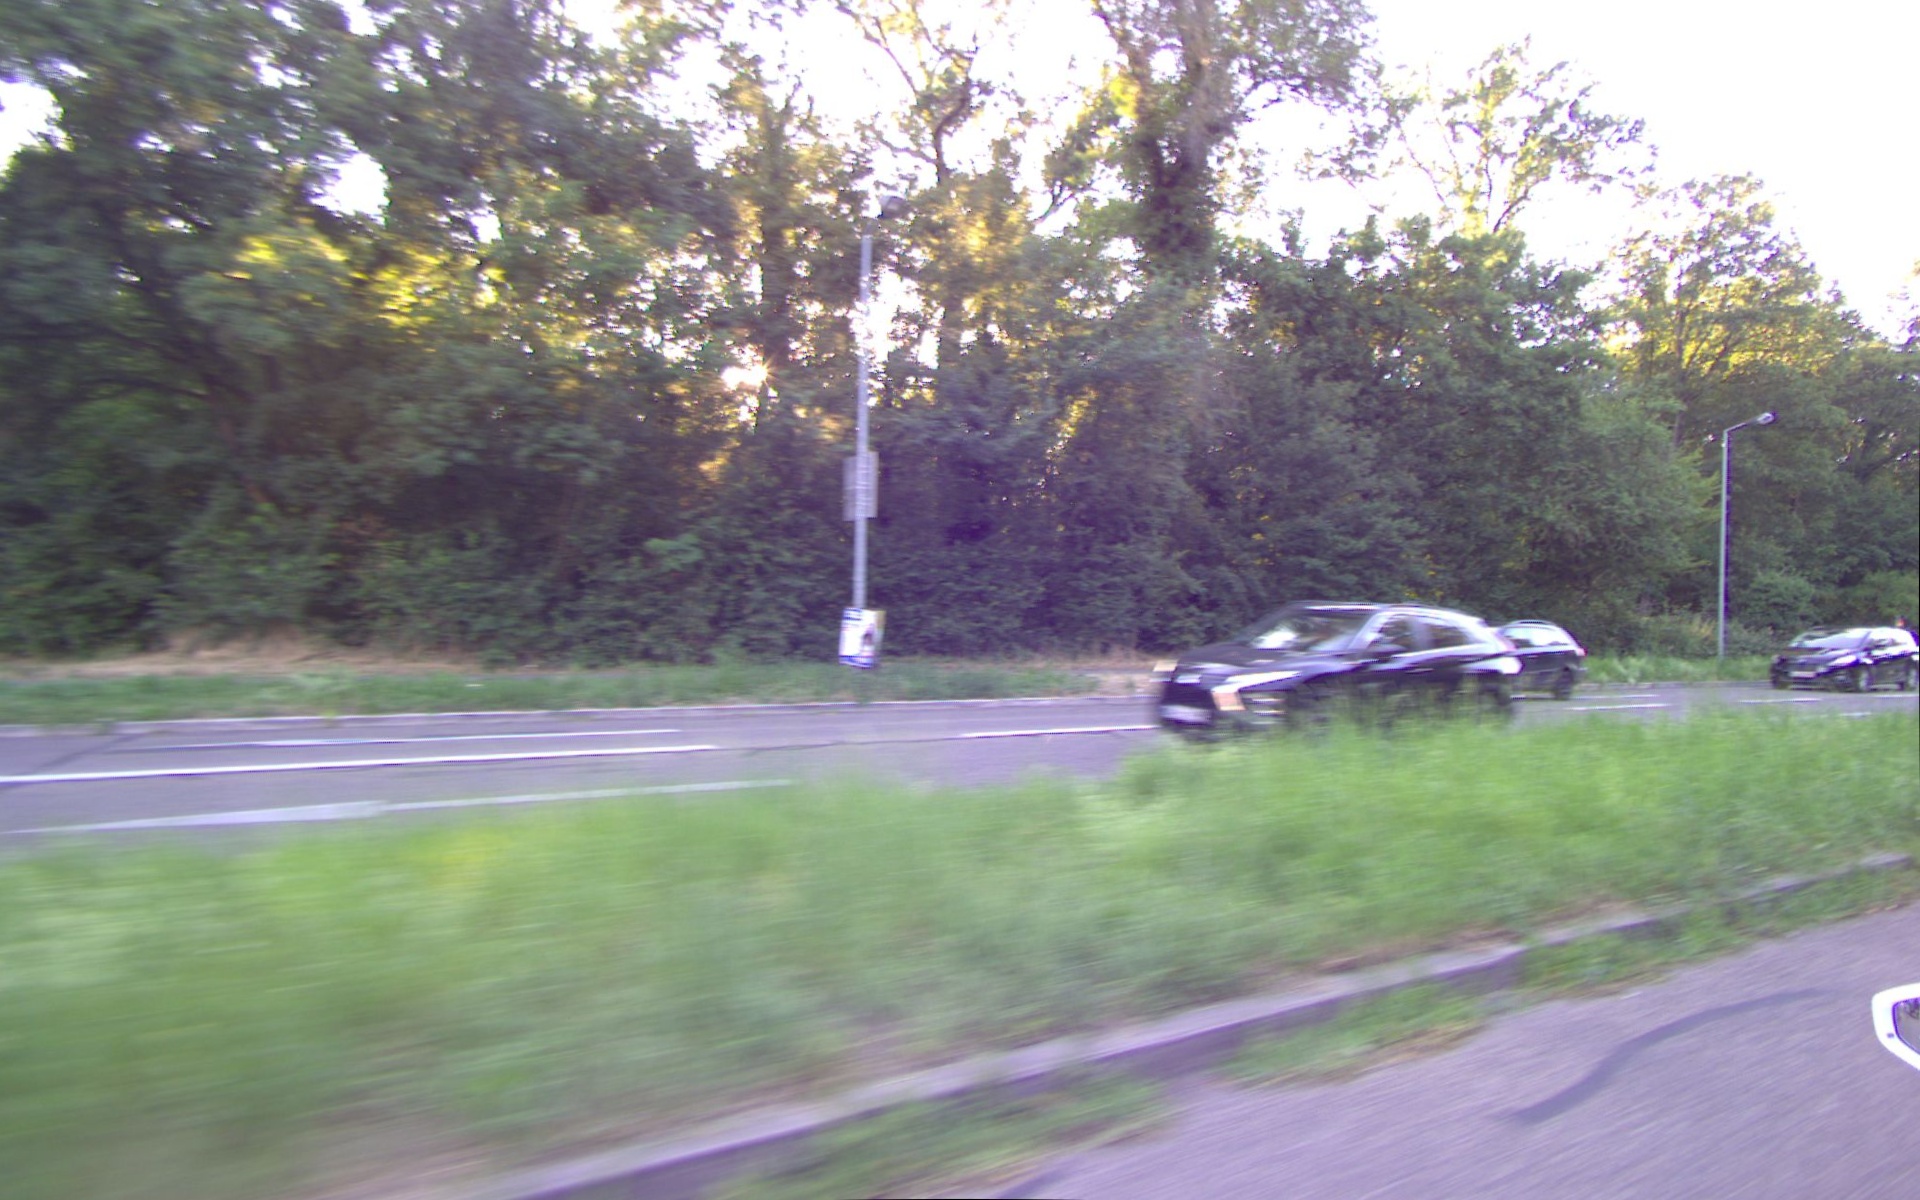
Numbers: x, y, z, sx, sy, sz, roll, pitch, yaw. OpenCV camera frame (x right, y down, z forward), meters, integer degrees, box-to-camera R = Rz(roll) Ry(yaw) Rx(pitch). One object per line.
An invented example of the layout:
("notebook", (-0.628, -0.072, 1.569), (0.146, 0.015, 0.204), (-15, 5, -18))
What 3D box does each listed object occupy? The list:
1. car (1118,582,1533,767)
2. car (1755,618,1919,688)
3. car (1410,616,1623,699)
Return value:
("car", (4.010, 0.738, 10.843), (4.397, 1.649, 1.806), (2, -2, -29))
("car", (22.696, 1.337, 25.794), (4.595, 1.649, 1.985), (2, -2, -29))
("car", (11.127, 1.117, 20.028), (4.182, 1.499, 1.815), (2, -2, -29))
